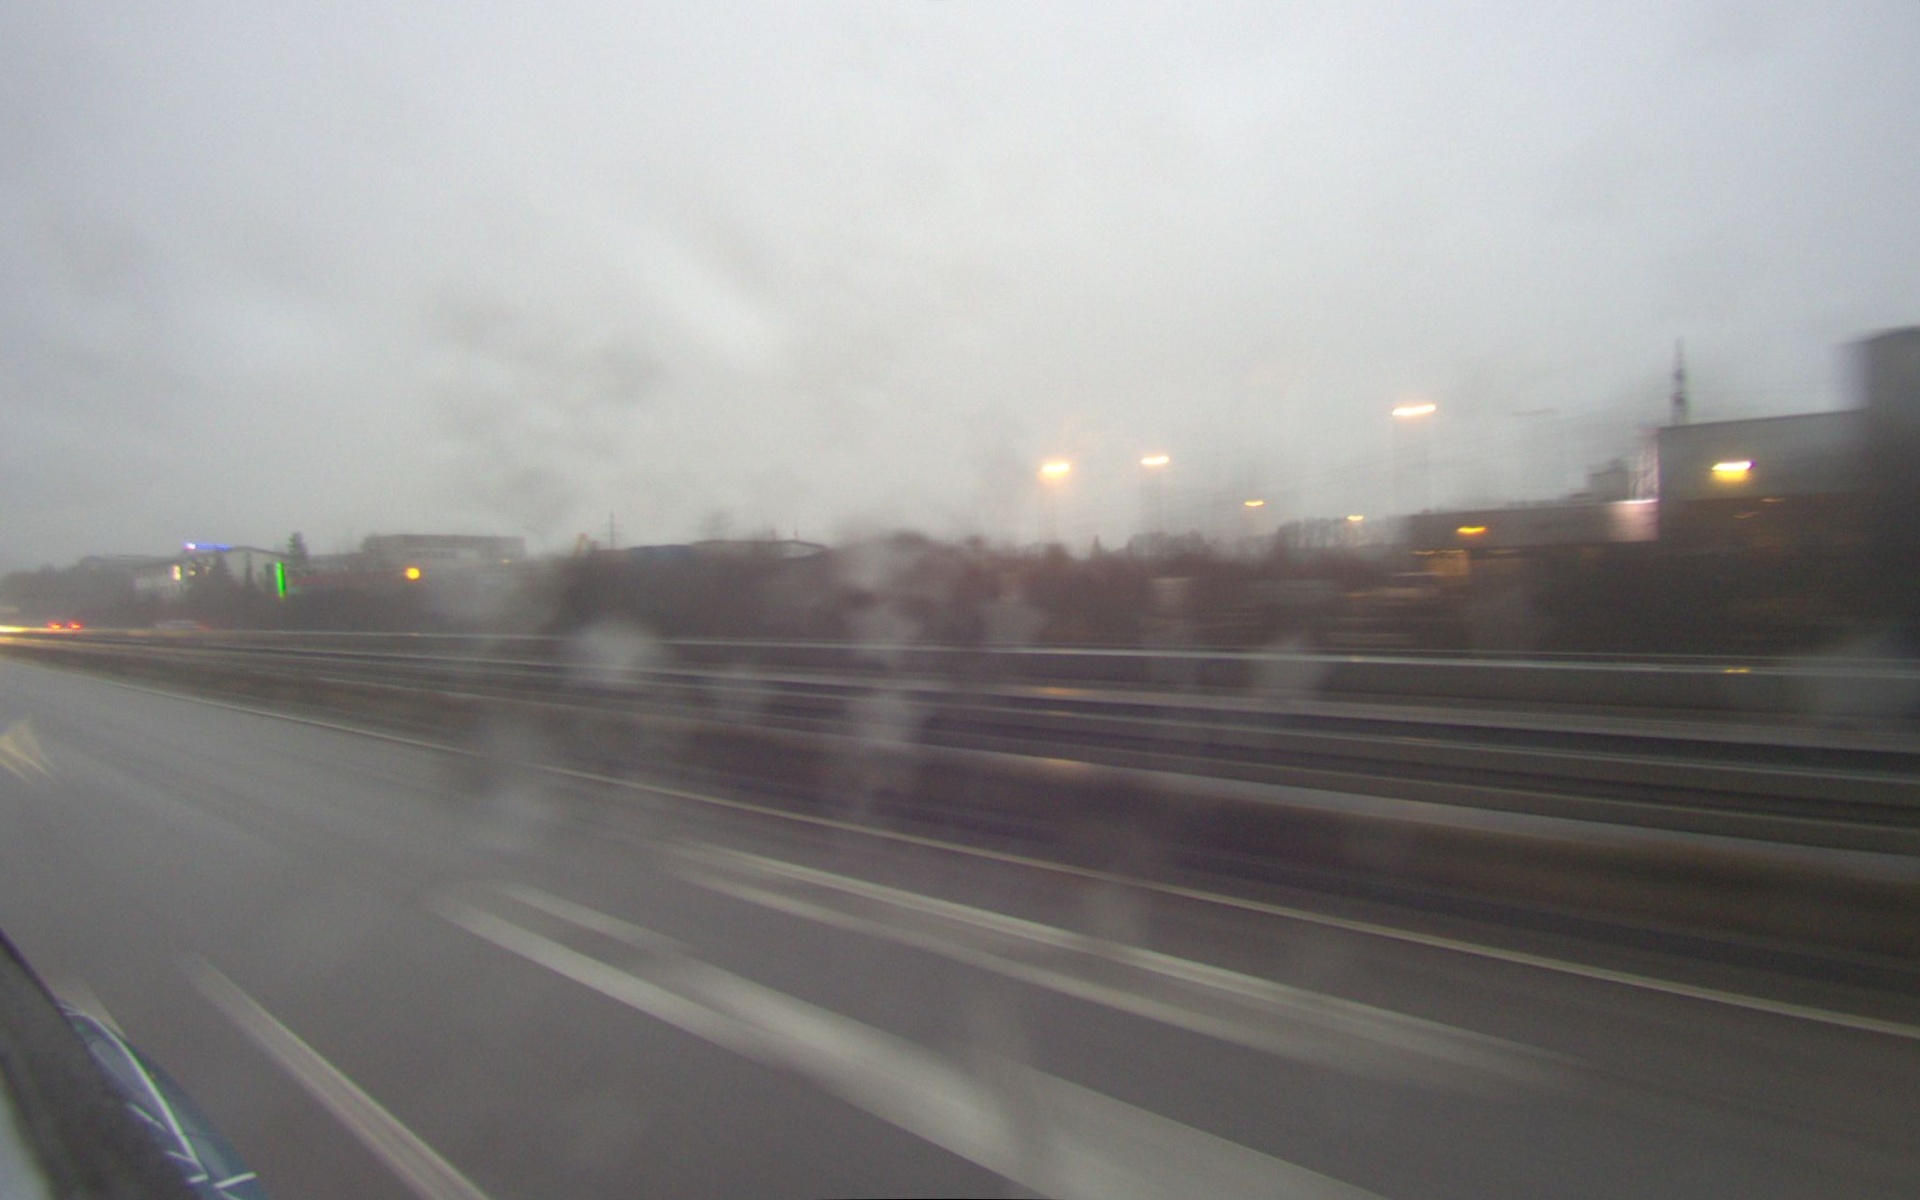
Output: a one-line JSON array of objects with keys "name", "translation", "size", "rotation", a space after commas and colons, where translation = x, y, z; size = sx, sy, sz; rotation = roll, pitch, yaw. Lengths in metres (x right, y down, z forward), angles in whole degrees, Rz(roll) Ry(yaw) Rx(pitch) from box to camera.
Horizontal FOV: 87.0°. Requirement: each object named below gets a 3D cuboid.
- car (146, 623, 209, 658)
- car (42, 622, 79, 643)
[{"name": "car", "translation": [-38.404, 1.969, 49.657], "size": [3.998, 1.652, 1.722], "rotation": [-1, -1, 41]}, {"name": "car", "translation": [-72.292, 2.613, 81.320], "size": [3.998, 1.652, 1.722], "rotation": [-1, -1, 41]}]
